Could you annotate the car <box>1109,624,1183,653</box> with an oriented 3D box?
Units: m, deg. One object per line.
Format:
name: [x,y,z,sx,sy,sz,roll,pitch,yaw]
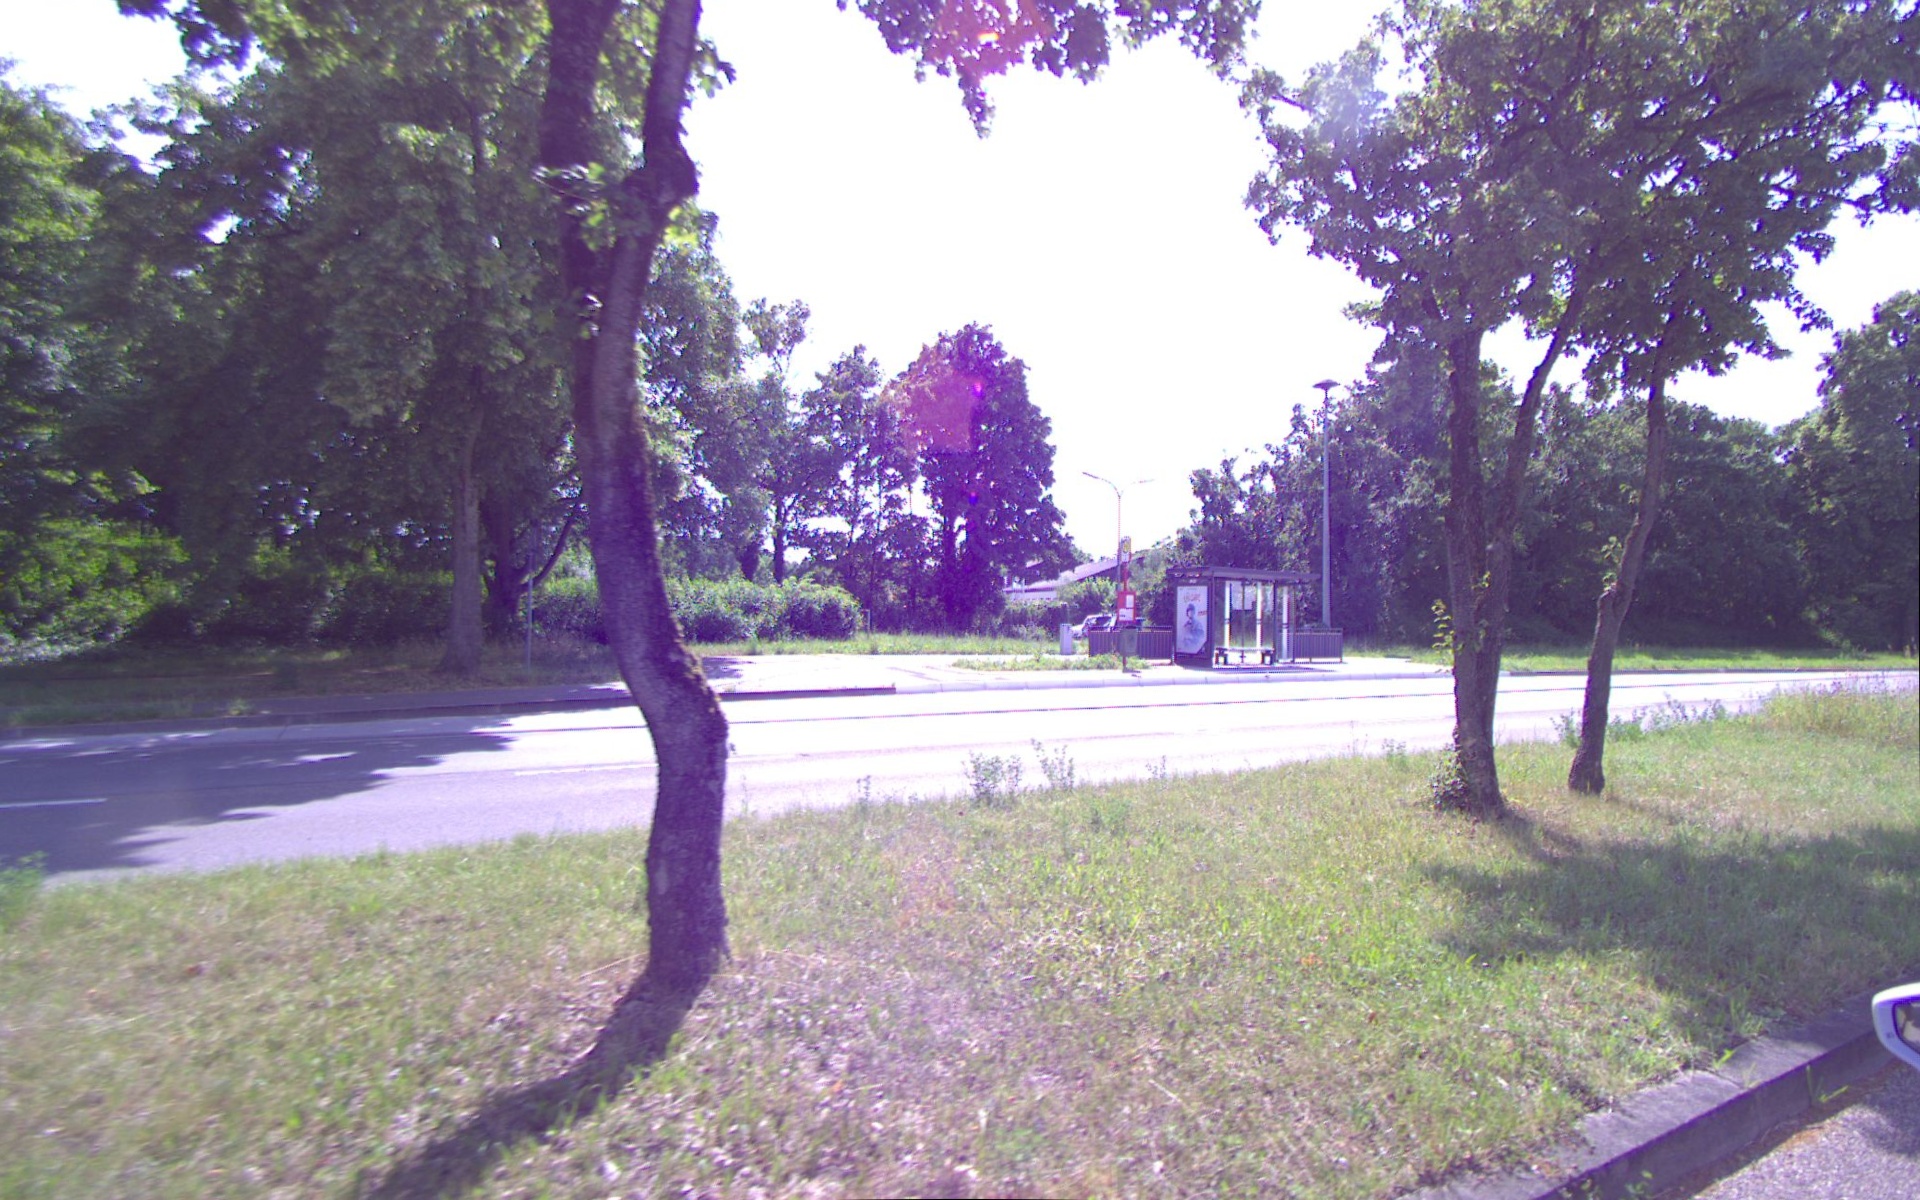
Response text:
car: [10.392,2.129,56.253,3.919,1.528,1.761,1,0,6]

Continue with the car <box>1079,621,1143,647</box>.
car: [9.596,2.141,63.657,3.919,1.439,2.001,1,0,10]

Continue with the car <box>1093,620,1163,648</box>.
car: [9.897,1.995,59.383,3.919,1.528,1.761,1,0,6]
